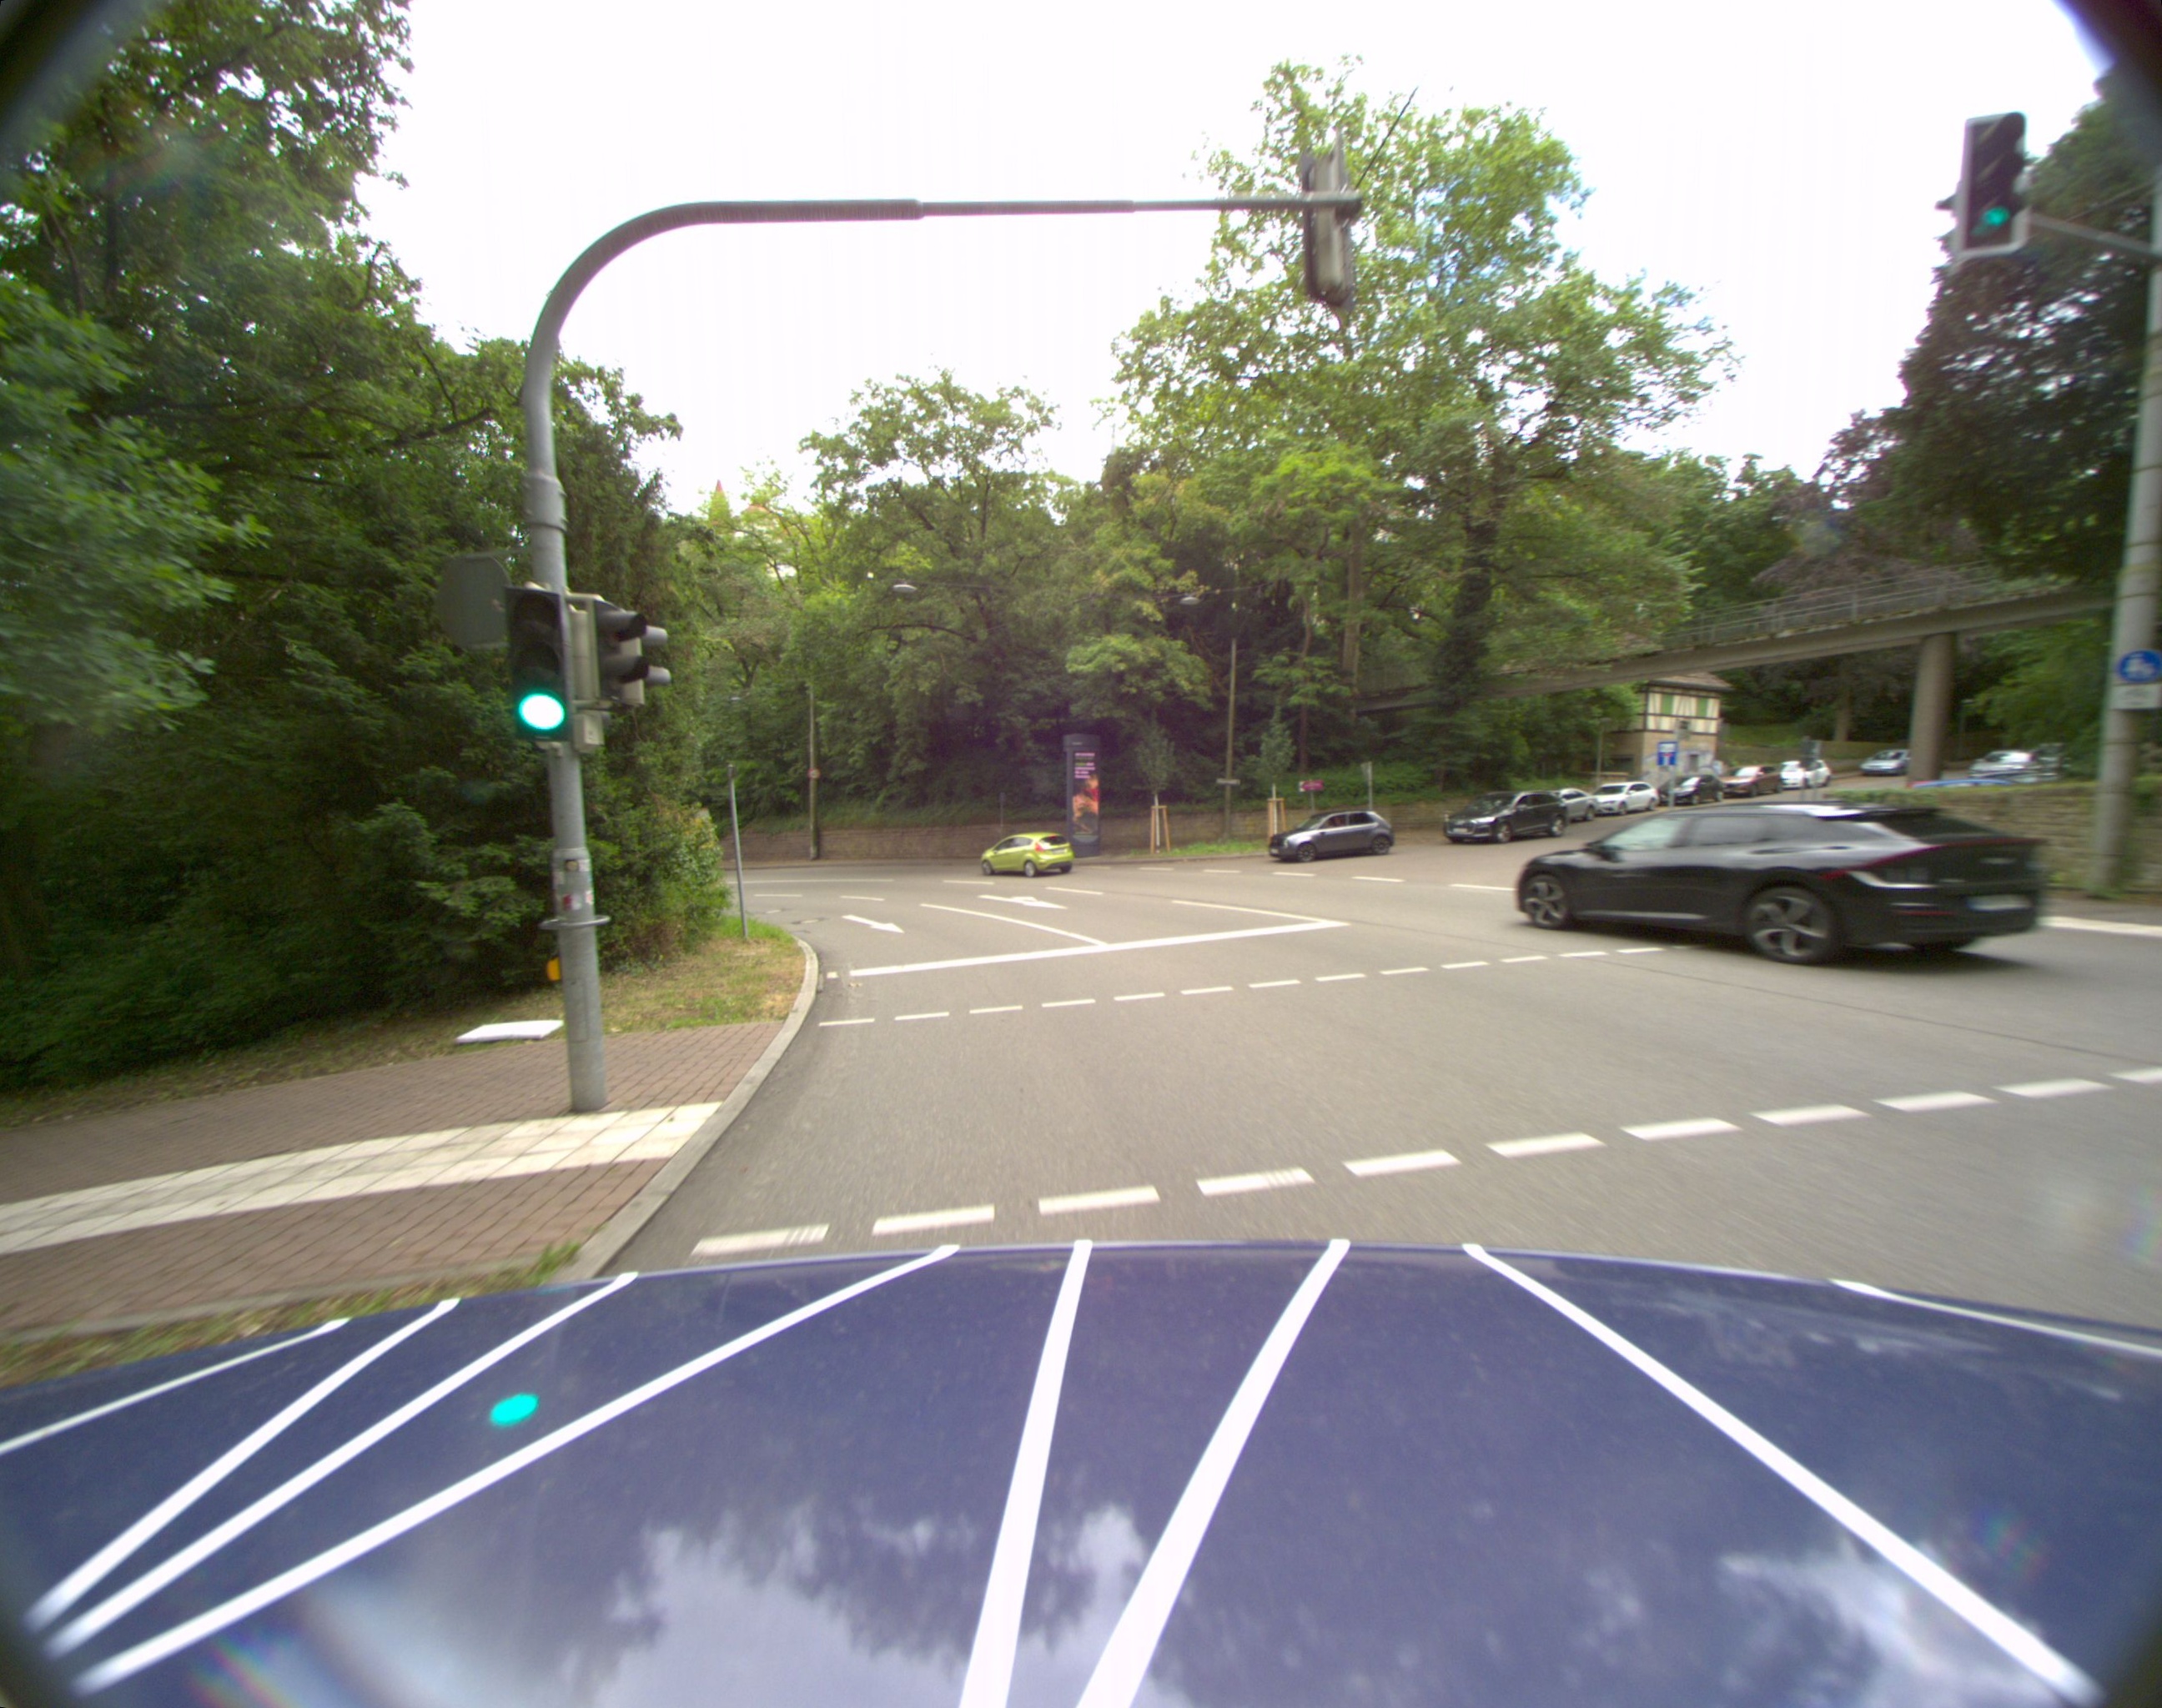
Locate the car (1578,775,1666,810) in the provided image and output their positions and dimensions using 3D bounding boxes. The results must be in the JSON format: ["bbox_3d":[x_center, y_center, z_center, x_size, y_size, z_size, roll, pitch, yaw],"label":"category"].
[{"bbox_3d":[24.869,-2.862,34.908,4.028,1.323,1.624,-7,8,-27],"label":"car"}]

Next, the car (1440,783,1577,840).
[{"bbox_3d":[14.932,-1.523,26.510,4.547,1.676,1.803,-5,5,-24],"label":"car"}]

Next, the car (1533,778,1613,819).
[{"bbox_3d":[21.176,-2.423,32.696,3.269,1.441,1.501,-8,8,-29],"label":"car"}]

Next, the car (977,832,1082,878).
[{"bbox_3d":[-1.866,0.018,26.631,1.562,1.415,3.888,-6,4,-42],"label":"car"}]

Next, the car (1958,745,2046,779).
[{"bbox_3d":[45.559,-4.545,37.588,4.003,1.426,1.755,-6,7,-25],"label":"car"}]

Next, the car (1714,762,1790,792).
[{"bbox_3d":[34.831,-4.001,39.418,3.916,1.323,1.598,-7,8,-27],"label":"car"}]

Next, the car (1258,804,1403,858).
[{"bbox_3d":[7.969,-0.764,24.410,4.000,1.351,1.751,-5,5,-9],"label":"car"}]

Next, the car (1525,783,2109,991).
[{"bbox_3d":[7.154,0.196,8.179,1.636,1.534,4.393,-4,2,-9],"label":"car"}]

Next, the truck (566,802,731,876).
[{"bbox_3d":[-22.274,-0.768,39.174,7.567,3.283,2.760,-2,5,18],"label":"truck"}]

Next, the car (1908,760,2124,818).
[{"bbox_3d":[28.335,-1.945,23.173,1.779,1.544,3.987,-7,7,-37],"label":"car"}]

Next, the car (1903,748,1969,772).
[{"bbox_3d":[53.427,-5.871,47.474,3.643,1.222,1.590,-6,7,-23],"label":"car"}]

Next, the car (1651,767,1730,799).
[{"bbox_3d":[30.173,-3.515,37.598,3.916,1.323,1.598,-7,8,-27],"label":"car"}]

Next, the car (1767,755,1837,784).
[{"bbox_3d":[39.772,-4.679,41.902,3.916,1.323,1.598,-7,8,-27],"label":"car"}]

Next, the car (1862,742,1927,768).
[{"bbox_3d":[48.838,-5.926,45.609,3.916,1.323,1.598,-7,8,-27],"label":"car"}]
